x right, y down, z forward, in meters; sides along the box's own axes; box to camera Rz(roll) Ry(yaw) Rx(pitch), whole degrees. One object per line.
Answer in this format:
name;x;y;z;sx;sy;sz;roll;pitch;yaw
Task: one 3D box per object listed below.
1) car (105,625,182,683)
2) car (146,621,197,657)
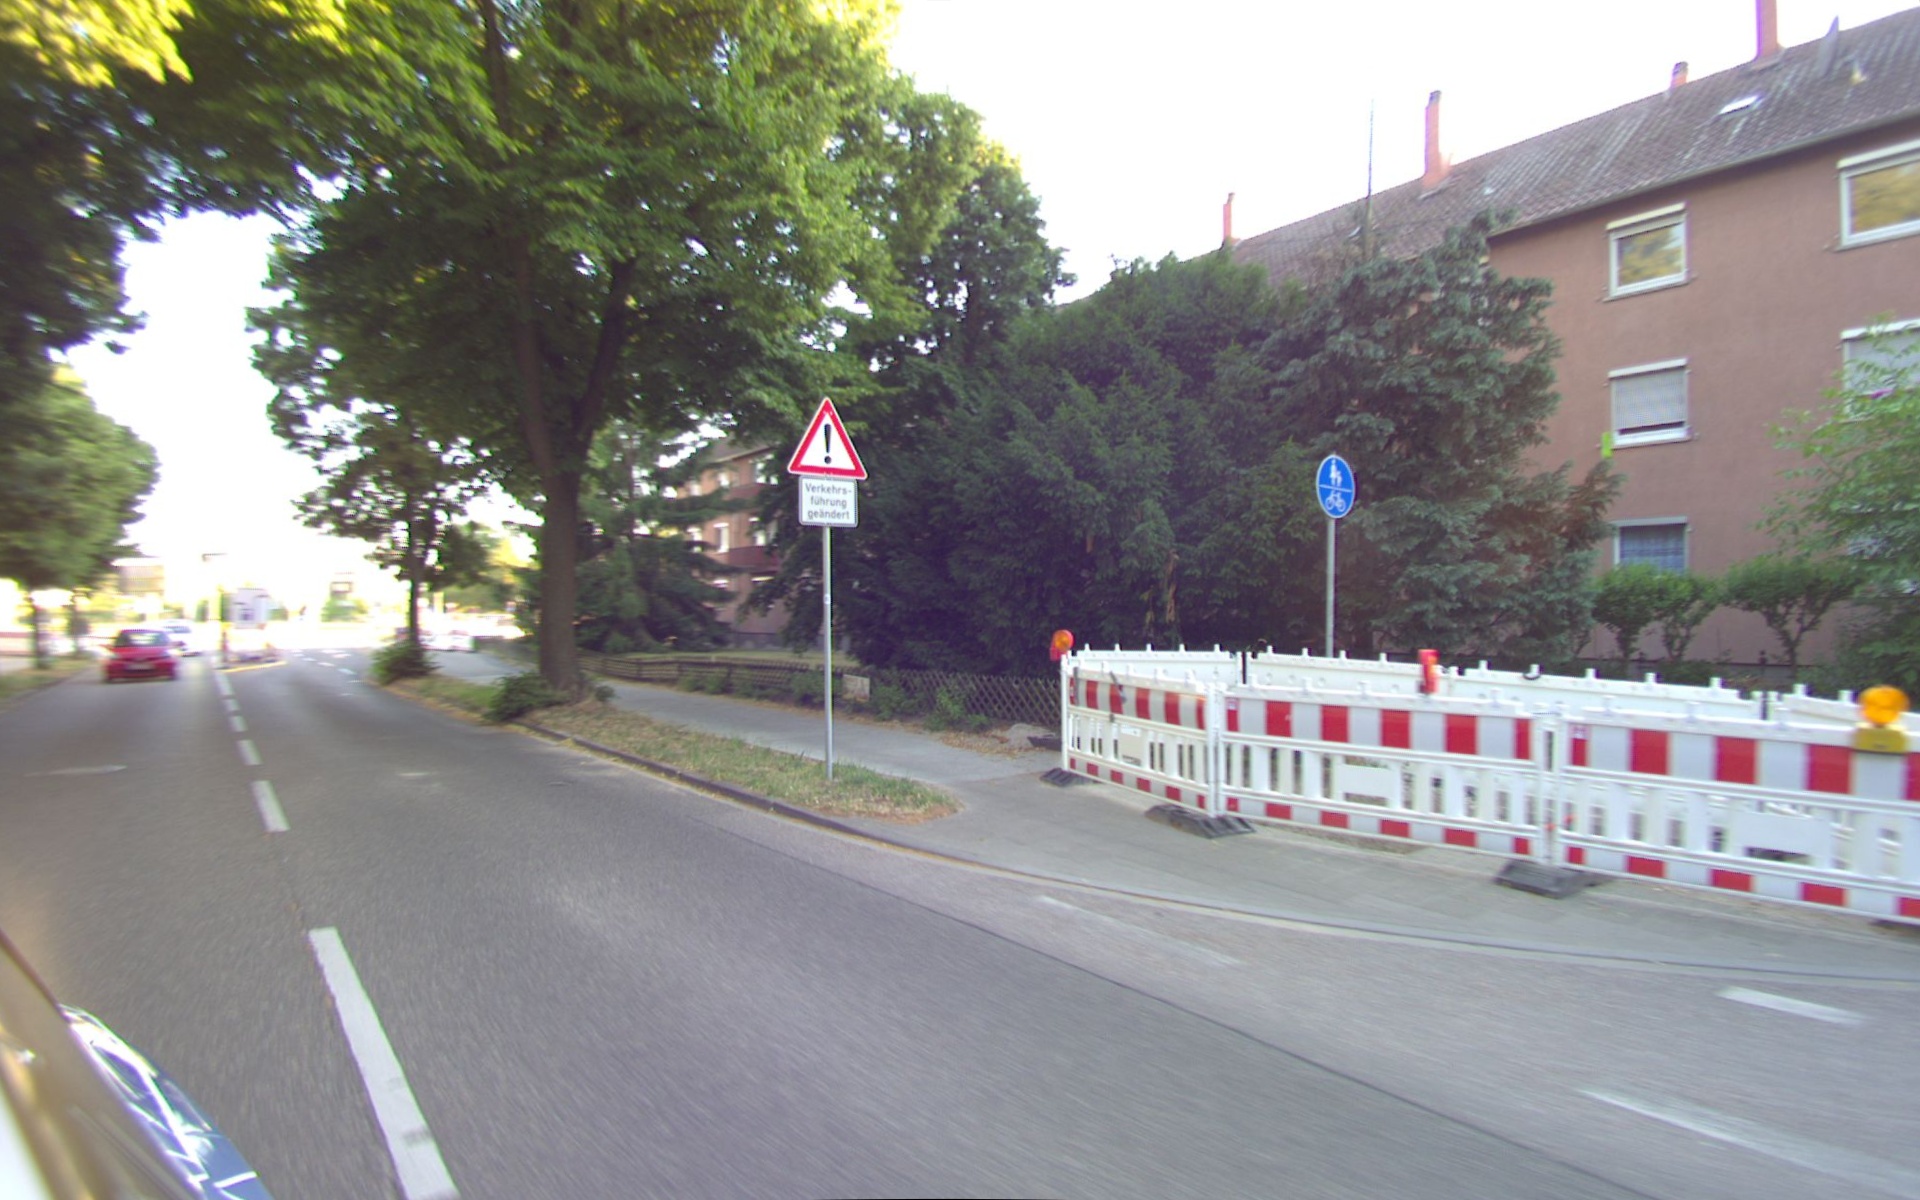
car;-23.141;1.471;28.692;1.594;1.423;4.419;0;0;-39
car;-37.756;1.821;48.530;1.762;1.569;4.420;0;0;-35
